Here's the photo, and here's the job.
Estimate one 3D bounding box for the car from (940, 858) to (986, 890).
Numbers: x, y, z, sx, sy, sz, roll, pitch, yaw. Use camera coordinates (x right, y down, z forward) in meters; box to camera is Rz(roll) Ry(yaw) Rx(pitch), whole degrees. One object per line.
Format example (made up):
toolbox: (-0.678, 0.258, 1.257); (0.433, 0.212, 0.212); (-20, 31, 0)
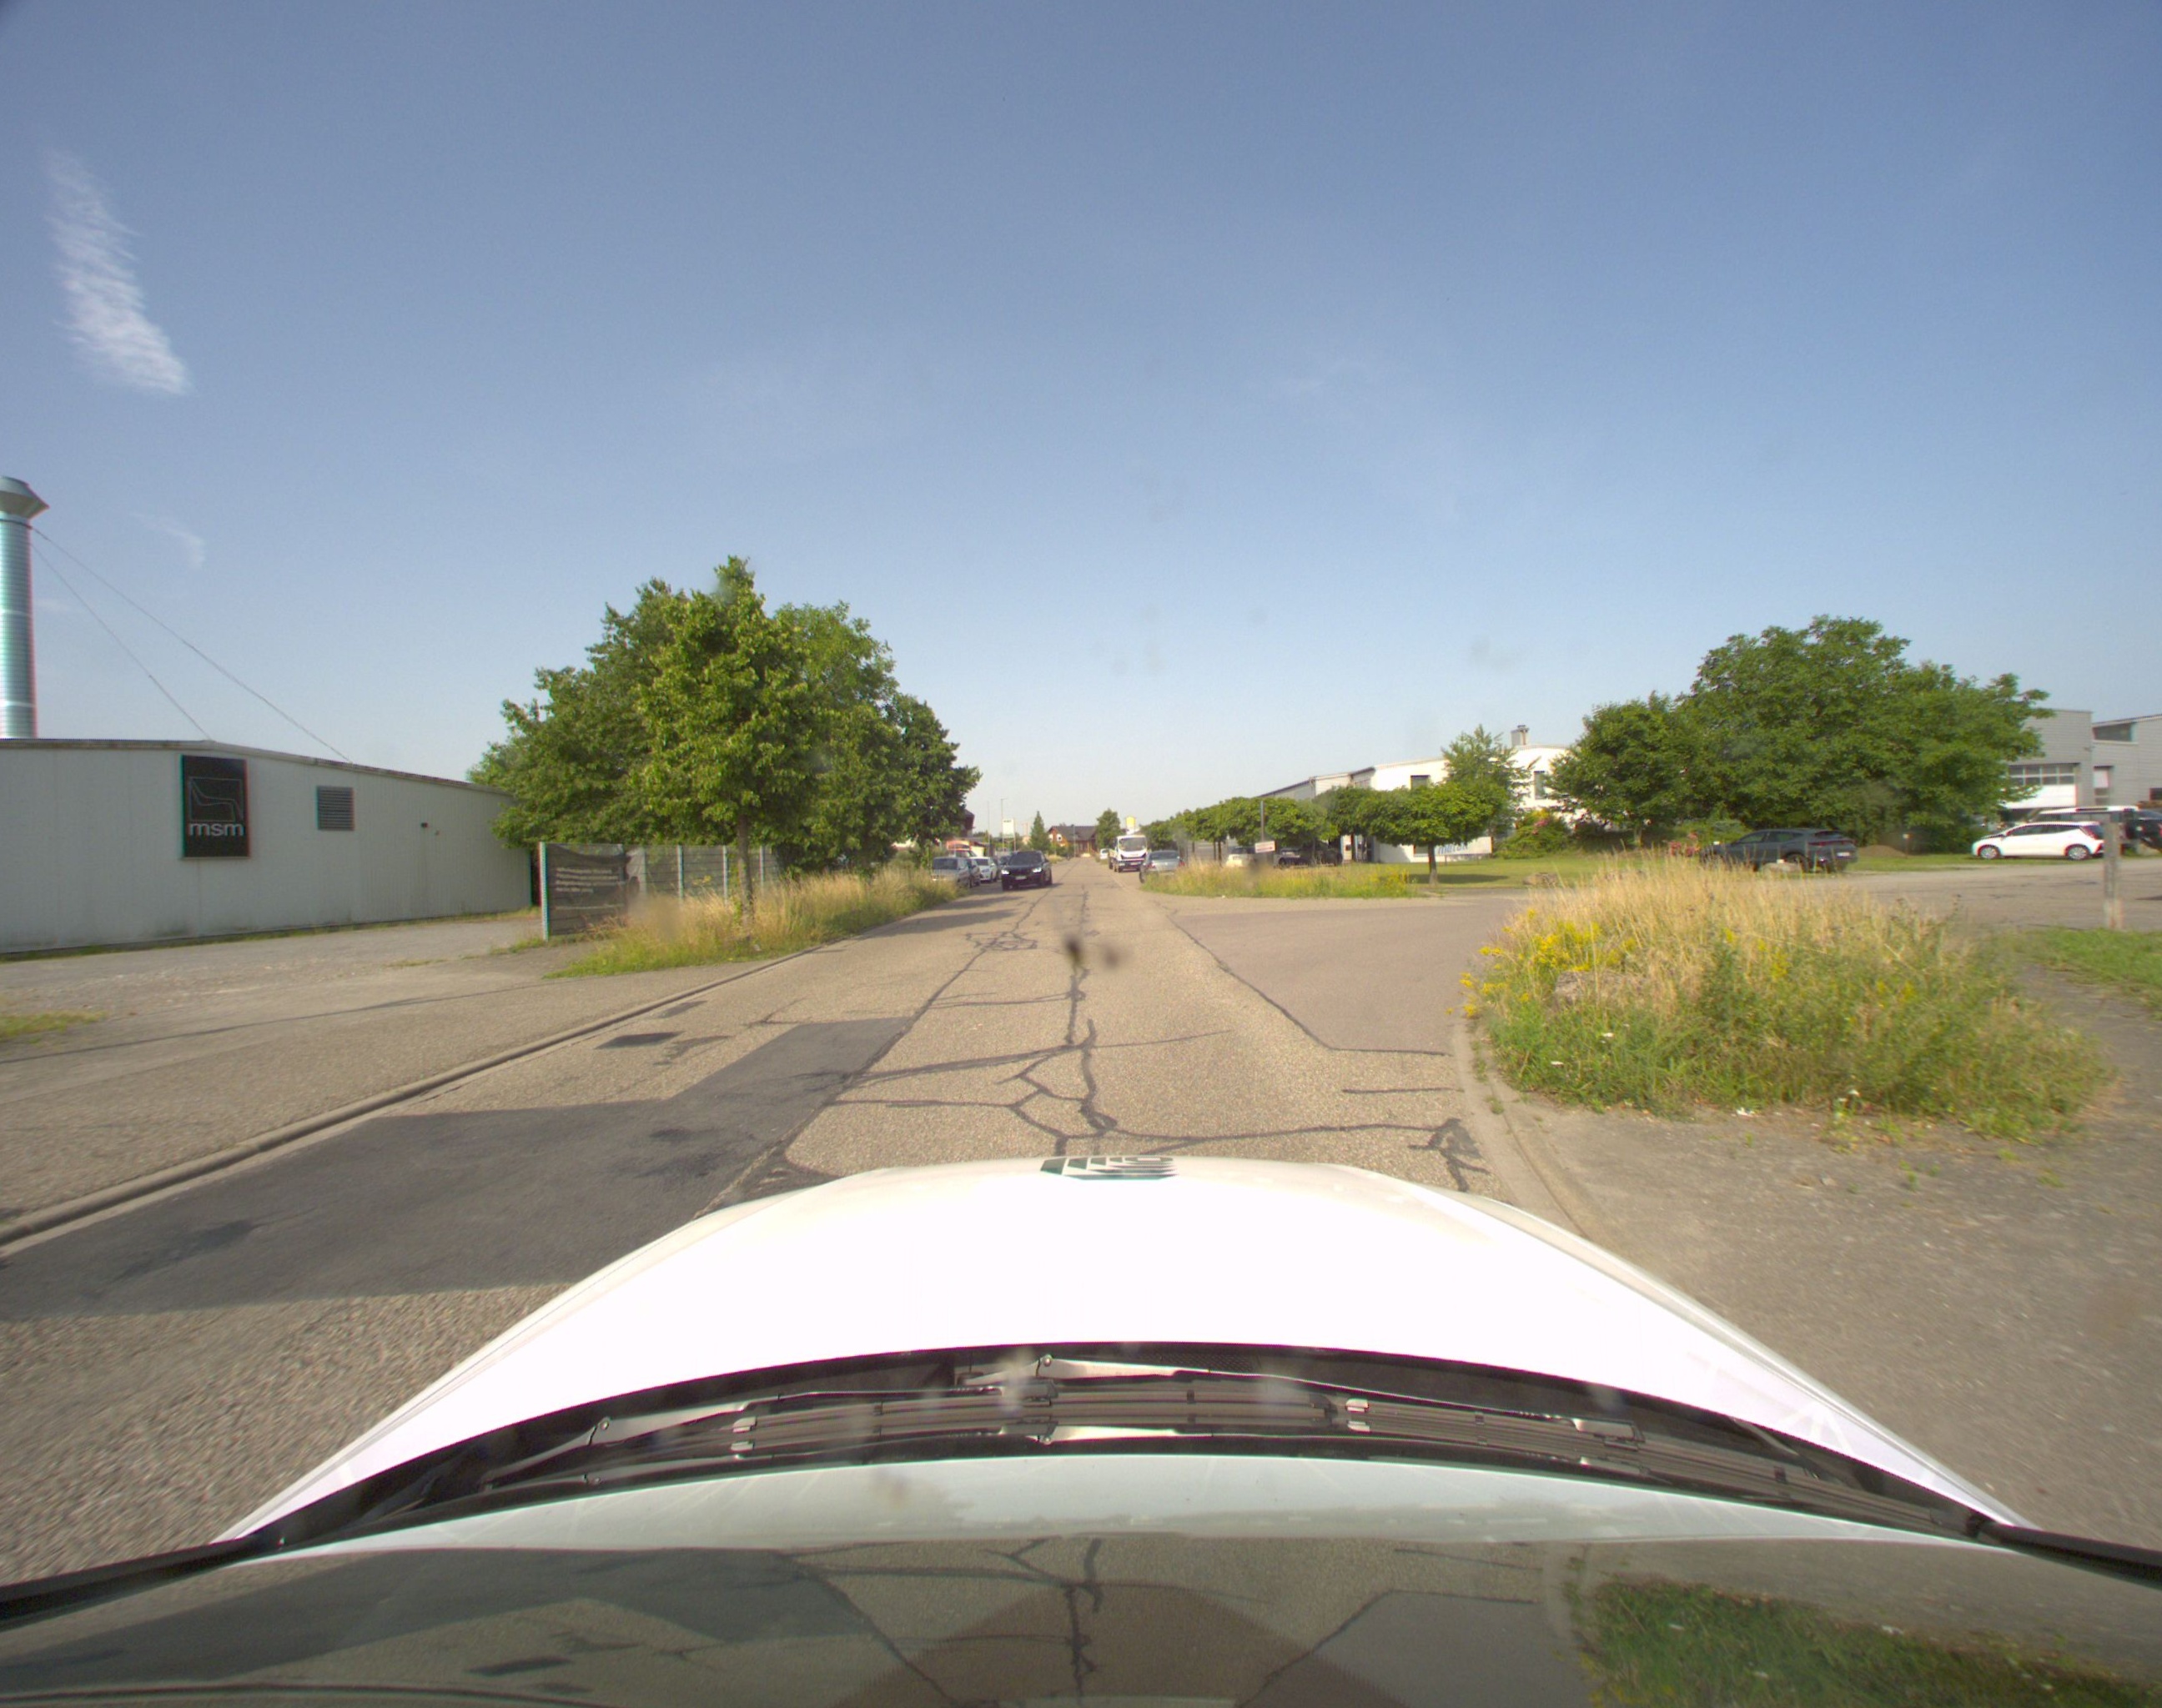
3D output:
car: (-5.814, 0.956, 40.530); (1.572, 1.443, 3.965); (0, 0, 2)

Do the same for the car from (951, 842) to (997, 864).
car: (-13.497, -0.117, 102.795); (5.113, 2.586, 2.590); (-3, 0, 20)

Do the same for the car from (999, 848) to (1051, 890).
car: (-2.478, 0.640, 37.049); (1.849, 1.715, 4.227); (-3, 0, 1)

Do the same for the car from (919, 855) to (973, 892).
car: (-5.866, 0.831, 35.837); (1.560, 1.538, 3.691); (0, 0, 3)

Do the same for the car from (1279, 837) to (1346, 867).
car: (13.520, -0.135, 47.352); (4.560, 1.589, 1.667); (-2, 0, -44)

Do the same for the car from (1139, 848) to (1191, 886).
car: (3.582, 0.523, 35.411); (1.788, 1.517, 4.423); (-2, 0, 0)

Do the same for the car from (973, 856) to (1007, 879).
car: (-5.773, 0.842, 51.903); (1.628, 1.387, 4.369); (0, 0, 0)

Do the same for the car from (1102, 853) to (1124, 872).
car: (2.780, 0.684, 71.125); (1.788, 1.560, 4.000); (-2, 0, 0)

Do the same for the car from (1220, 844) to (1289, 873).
car: (9.435, 0.230, 44.104); (3.717, 1.380, 1.668); (-3, 0, -40)

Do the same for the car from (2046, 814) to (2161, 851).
car: (42.116, -0.863, 33.166); (1.562, 1.409, 3.298); (-2, 0, -18)

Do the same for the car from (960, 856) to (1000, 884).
car: (-5.587, 0.845, 45.582); (1.678, 1.469, 4.254); (0, 0, 0)

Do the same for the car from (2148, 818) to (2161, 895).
car: (22.060, -0.048, 14.549); (4.459, 1.409, 1.804); (-2, -1, -11)

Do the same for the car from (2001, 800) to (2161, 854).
car: (39.782, -1.128, 32.493); (1.685, 1.955, 3.686); (-3, 4, -18)

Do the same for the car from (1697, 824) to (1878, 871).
car: (23.699, -0.197, 27.563); (1.786, 1.409, 4.321); (-2, 0, -17)

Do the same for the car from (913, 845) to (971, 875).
car: (-12.124, 0.507, 71.218); (4.608, 2.416, 2.001); (-2, 0, 2)

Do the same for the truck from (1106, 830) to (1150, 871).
truck: (3.340, -0.245, 59.055); (2.354, 2.681, 6.503); (-2, 0, -3)

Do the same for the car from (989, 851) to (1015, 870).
car: (-6.542, 0.525, 67.810); (1.626, 1.517, 3.608); (0, 0, 3)

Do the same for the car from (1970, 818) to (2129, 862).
car: (36.448, -0.500, 30.752); (1.562, 1.450, 3.496); (-2, -1, -18)

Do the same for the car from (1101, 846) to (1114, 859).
car: (3.902, -0.223, 121.323); (1.831, 1.924, 3.756); (-3, 0, 1)
